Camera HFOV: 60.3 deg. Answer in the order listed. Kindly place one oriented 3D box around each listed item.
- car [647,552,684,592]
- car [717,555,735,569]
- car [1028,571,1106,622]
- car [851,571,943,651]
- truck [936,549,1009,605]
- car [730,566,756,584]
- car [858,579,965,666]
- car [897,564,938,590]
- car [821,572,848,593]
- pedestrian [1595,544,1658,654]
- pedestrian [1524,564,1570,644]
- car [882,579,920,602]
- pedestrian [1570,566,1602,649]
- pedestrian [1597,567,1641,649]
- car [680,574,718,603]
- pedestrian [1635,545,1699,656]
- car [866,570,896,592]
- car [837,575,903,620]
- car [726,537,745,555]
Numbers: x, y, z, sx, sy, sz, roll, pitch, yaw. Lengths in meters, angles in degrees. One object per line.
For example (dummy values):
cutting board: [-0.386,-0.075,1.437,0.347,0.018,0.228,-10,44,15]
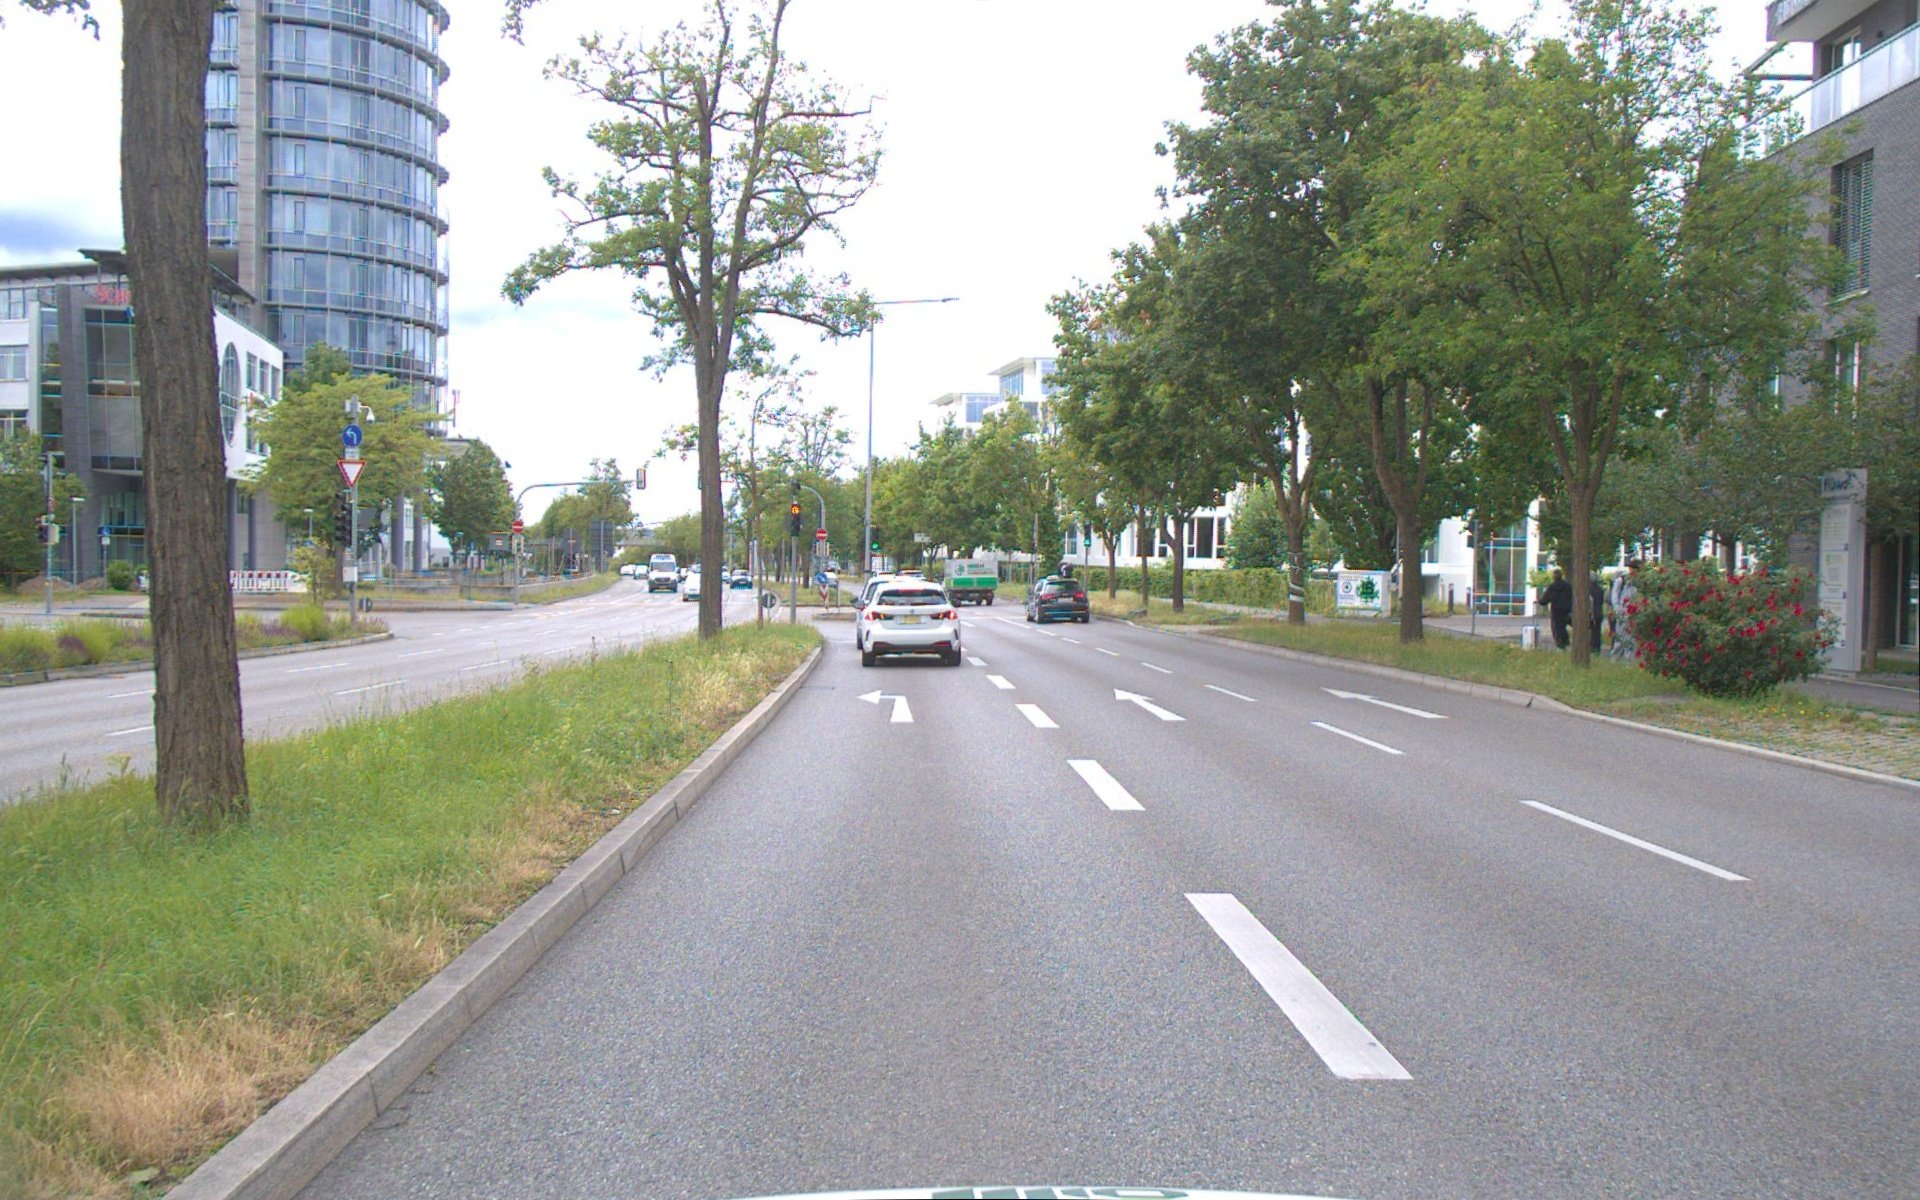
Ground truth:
car: [-20.733,-1.950,116.526,1.955,2.679,5.869,2,1,-5]
car: [-30.040,-4.889,212.501,1.954,1.646,3.998,2,1,-3]
car: [3.499,-0.148,54.620,1.955,1.624,3.996,0,1,-5]
car: [-1.409,0.228,37.502,1.953,1.701,3.999,0,0,-2]
truck: [0.545,-1.092,79.661,2.804,2.563,6.279,0,0,-6]
car: [-17.352,-1.978,132.080,1.719,1.395,3.778,-1,1,-3]
car: [-0.836,0.372,30.405,1.825,1.474,4.000,0,0,0]
car: [-2.618,-1.404,100.716,1.957,1.534,3.991,0,1,-10]
car: [-9.385,-1.303,123.920,1.955,1.516,3.996,1,1,-5]
pedestrian: [11.196,-0.028,27.808,0.596,1.806,0.953,0,3,-2]
pedestrian: [11.729,0.083,33.067,0.710,1.579,0.587,1,0,2]
car: [-4.074,-0.681,113.786,1.958,1.534,3.989,0,1,-11]
pedestrian: [12.078,0.139,31.936,0.400,1.579,0.562,1,0,3]
pedestrian: [12.775,0.149,32.073,0.577,1.579,0.744,1,0,3]
car: [-14.347,-0.641,91.072,1.719,1.469,4.130,2,1,-5]
pedestrian: [11.891,-0.002,27.846,0.596,1.806,0.953,0,3,-2]
car: [-5.619,-1.371,117.015,1.955,1.516,3.996,1,1,-5]
car: [-3.205,-0.095,59.496,1.952,1.534,4.002,0,0,3]
car: [-26.451,-6.363,194.809,1.955,2.045,4.320,2,1,-5]
